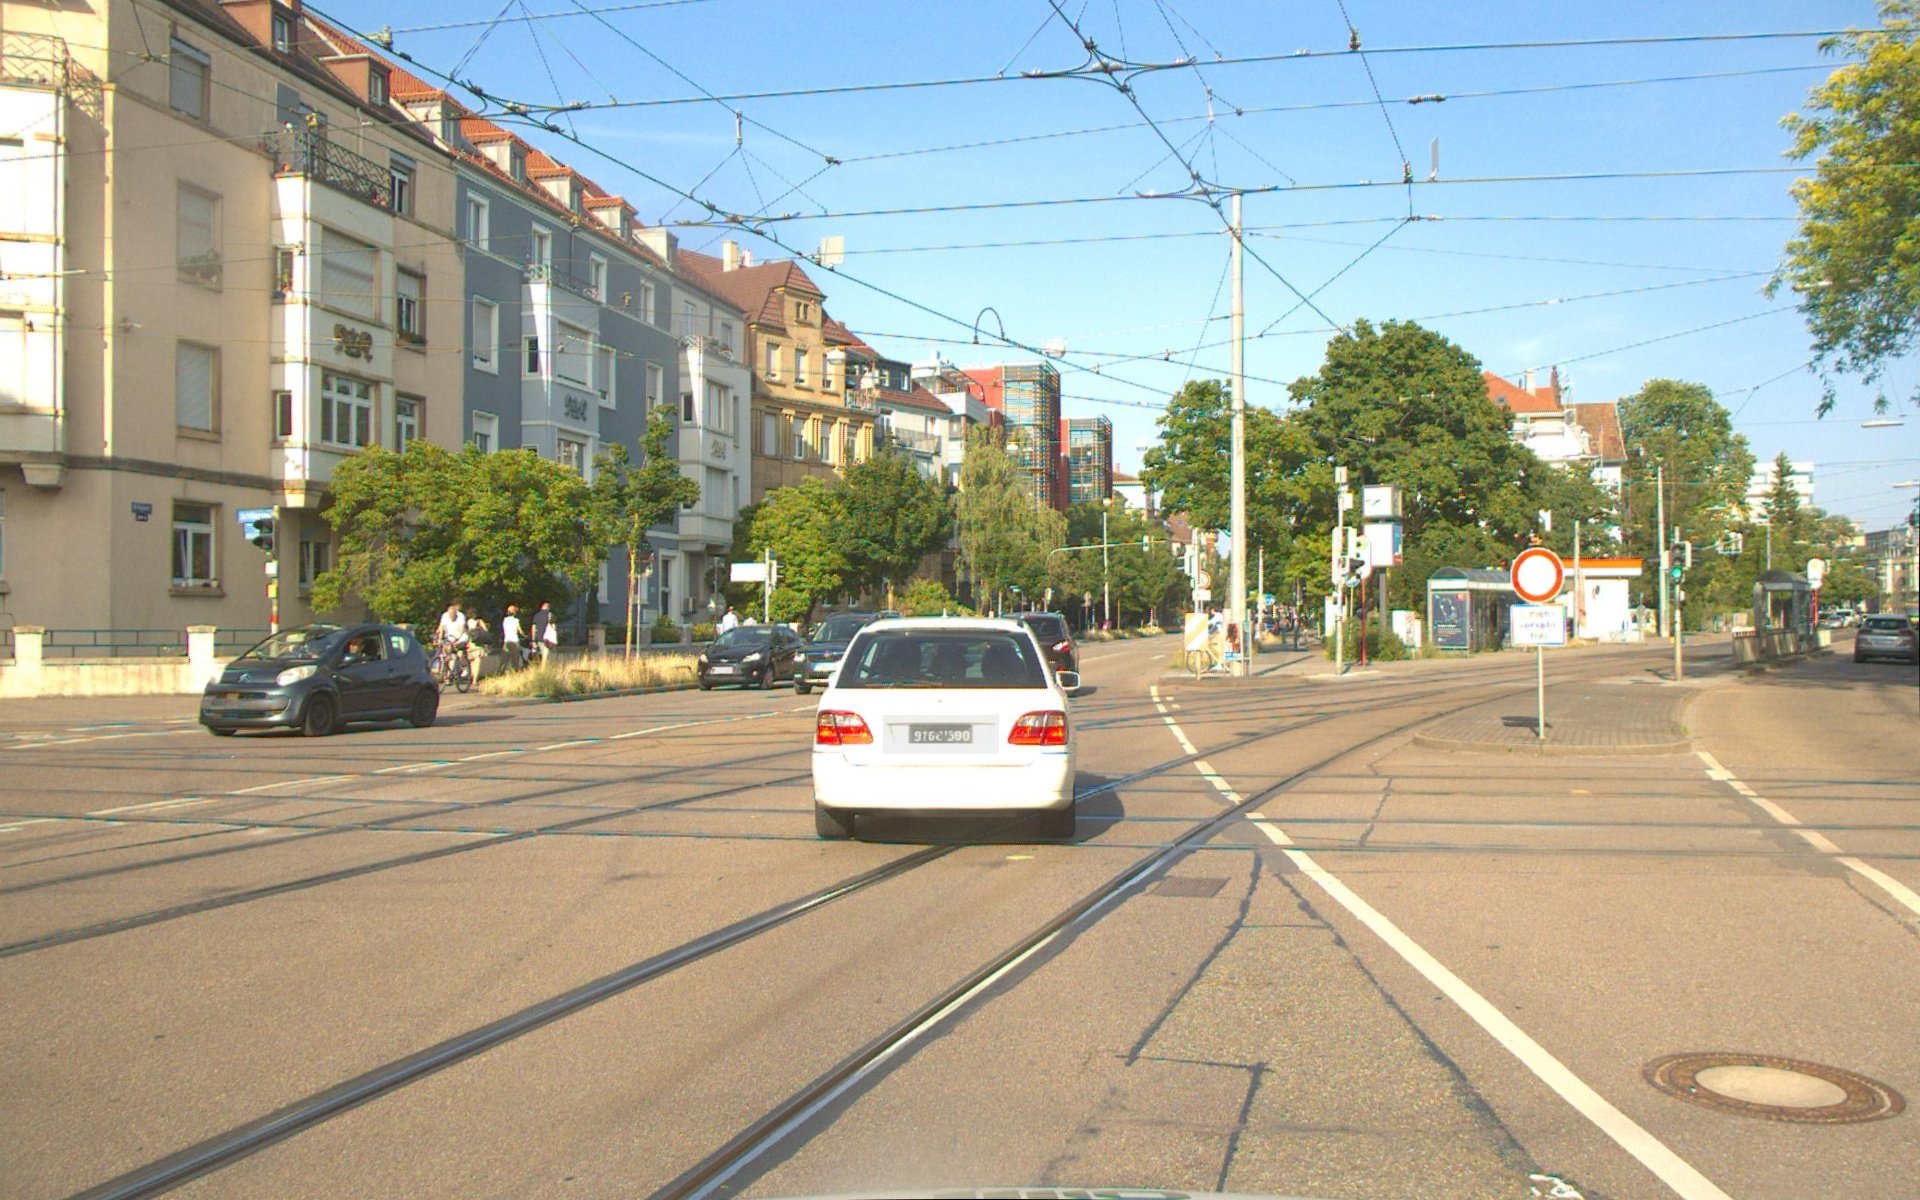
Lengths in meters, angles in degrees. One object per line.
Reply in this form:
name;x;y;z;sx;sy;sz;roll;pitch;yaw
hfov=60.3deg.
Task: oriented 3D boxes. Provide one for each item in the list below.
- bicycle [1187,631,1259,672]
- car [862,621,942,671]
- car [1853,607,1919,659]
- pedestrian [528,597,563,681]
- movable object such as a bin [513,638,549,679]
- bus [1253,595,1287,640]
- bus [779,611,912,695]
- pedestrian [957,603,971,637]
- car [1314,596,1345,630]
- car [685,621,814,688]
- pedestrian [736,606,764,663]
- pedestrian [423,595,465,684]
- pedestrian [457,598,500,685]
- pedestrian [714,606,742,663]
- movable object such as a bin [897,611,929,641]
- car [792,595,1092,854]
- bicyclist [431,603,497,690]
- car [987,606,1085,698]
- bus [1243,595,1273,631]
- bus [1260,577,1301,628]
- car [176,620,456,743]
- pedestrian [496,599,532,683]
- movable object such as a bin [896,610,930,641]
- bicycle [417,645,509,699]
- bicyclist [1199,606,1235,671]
bicycle;7.106;1.394;44.742;1.873;1.012;0.727;-2;-1;7
car;-1.755;1.405;51.467;1.653;1.466;4.003;-1;0;10
car;31.305;1.108;55.782;1.803;1.628;3.804;1;-1;33
pedestrian;-9.526;0.893;38.031;0.572;1.914;0.627;0;-1;12
movable object such as a bin;-10.068;1.368;38.833;0.571;0.963;0.663;0;-1;16
bus;18.496;1.066;98.730;1.759;2.600;4.003;2;-1;9
bus;-2.336;1.060;34.759;1.805;1.665;4.162;0;-1;11
pedestrian;0.222;1.060;86.410;0.624;1.781;0.608;-1;-1;10
car;21.408;0.760;95.696;1.708;1.906;4.003;0;-1;14
car;-4.748;1.220;37.836;1.652;1.445;4.003;-1;-1;13
pedestrian;-6.628;1.085;52.330;0.624;1.781;0.912;-1;-1;10
pedestrian;-11.244;0.862;36.061;0.644;1.914;0.627;0;-1;11
pedestrian;-10.507;0.906;36.124;0.660;1.880;0.650;0;-1;14
pedestrian;-7.351;1.094;52.453;0.624;1.781;0.912;-1;-1;10
movable object such as a bin;-2.231;1.236;78.818;1.502;1.446;1.084;0;-1;0
car;-0.036;0.774;12.004;1.797;1.528;3.816;1;0;2
bicyclist;-9.799;0.906;32.700;0.744;1.697;1.168;0;-1;16
car;1.536;0.968;32.145;1.607;1.628;3.818;1;0;7
bus;20.664;0.942;114.860;1.759;2.374;4.003;2;-1;8
bus;16.240;0.156;83.934;1.759;2.455;4.003;2;-1;8
car;-8.482;1.021;22.107;1.600;1.458;3.630;0;0;17
pedestrian;-10.253;0.942;38.056;0.572;1.914;0.627;0;-1;11
movable object such as a bin;-2.208;1.208;77.702;1.570;1.446;1.084;0;-1;0
bicycle;-9.805;1.410;32.698;0.752;0.982;2.035;0;0;16
bicyclist;6.948;1.033;44.761;0.880;1.728;0.733;-2;-1;7
